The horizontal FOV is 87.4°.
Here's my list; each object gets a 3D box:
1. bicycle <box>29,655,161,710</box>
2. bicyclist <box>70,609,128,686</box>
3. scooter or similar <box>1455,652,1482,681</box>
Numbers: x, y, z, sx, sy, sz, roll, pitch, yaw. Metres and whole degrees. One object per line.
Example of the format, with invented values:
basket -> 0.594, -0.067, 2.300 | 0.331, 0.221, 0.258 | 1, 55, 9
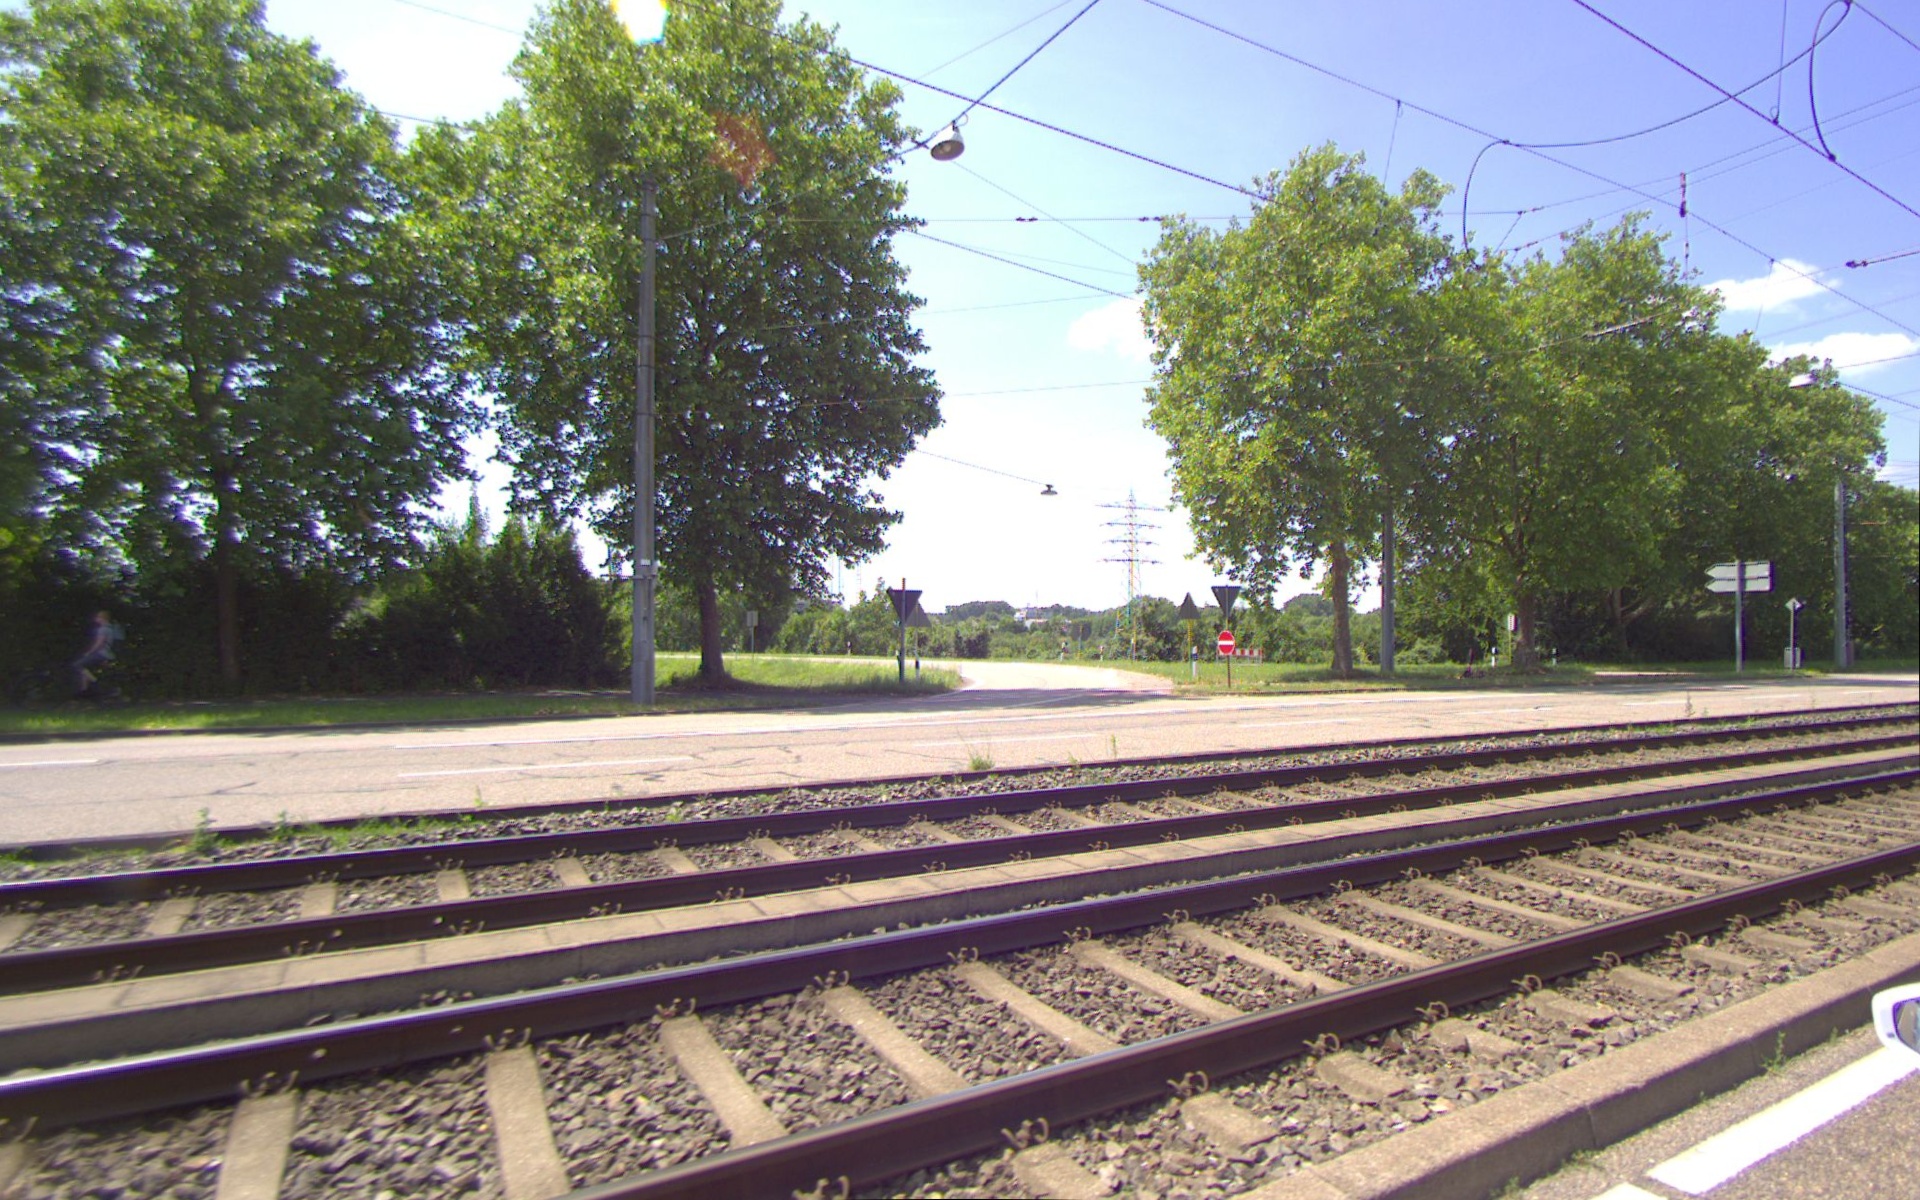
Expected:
bicycle -> -16.572, 1.568, 19.294 | 1.733, 1.001, 0.731 | 1, -2, -18
bicyclist -> -16.532, 0.909, 19.305 | 0.635, 1.448, 0.585 | 1, -1, -17
scooter or similar -> 18.576, 2.429, 36.670 | 0.982, 1.036, 0.298 | 1, 1, -23
